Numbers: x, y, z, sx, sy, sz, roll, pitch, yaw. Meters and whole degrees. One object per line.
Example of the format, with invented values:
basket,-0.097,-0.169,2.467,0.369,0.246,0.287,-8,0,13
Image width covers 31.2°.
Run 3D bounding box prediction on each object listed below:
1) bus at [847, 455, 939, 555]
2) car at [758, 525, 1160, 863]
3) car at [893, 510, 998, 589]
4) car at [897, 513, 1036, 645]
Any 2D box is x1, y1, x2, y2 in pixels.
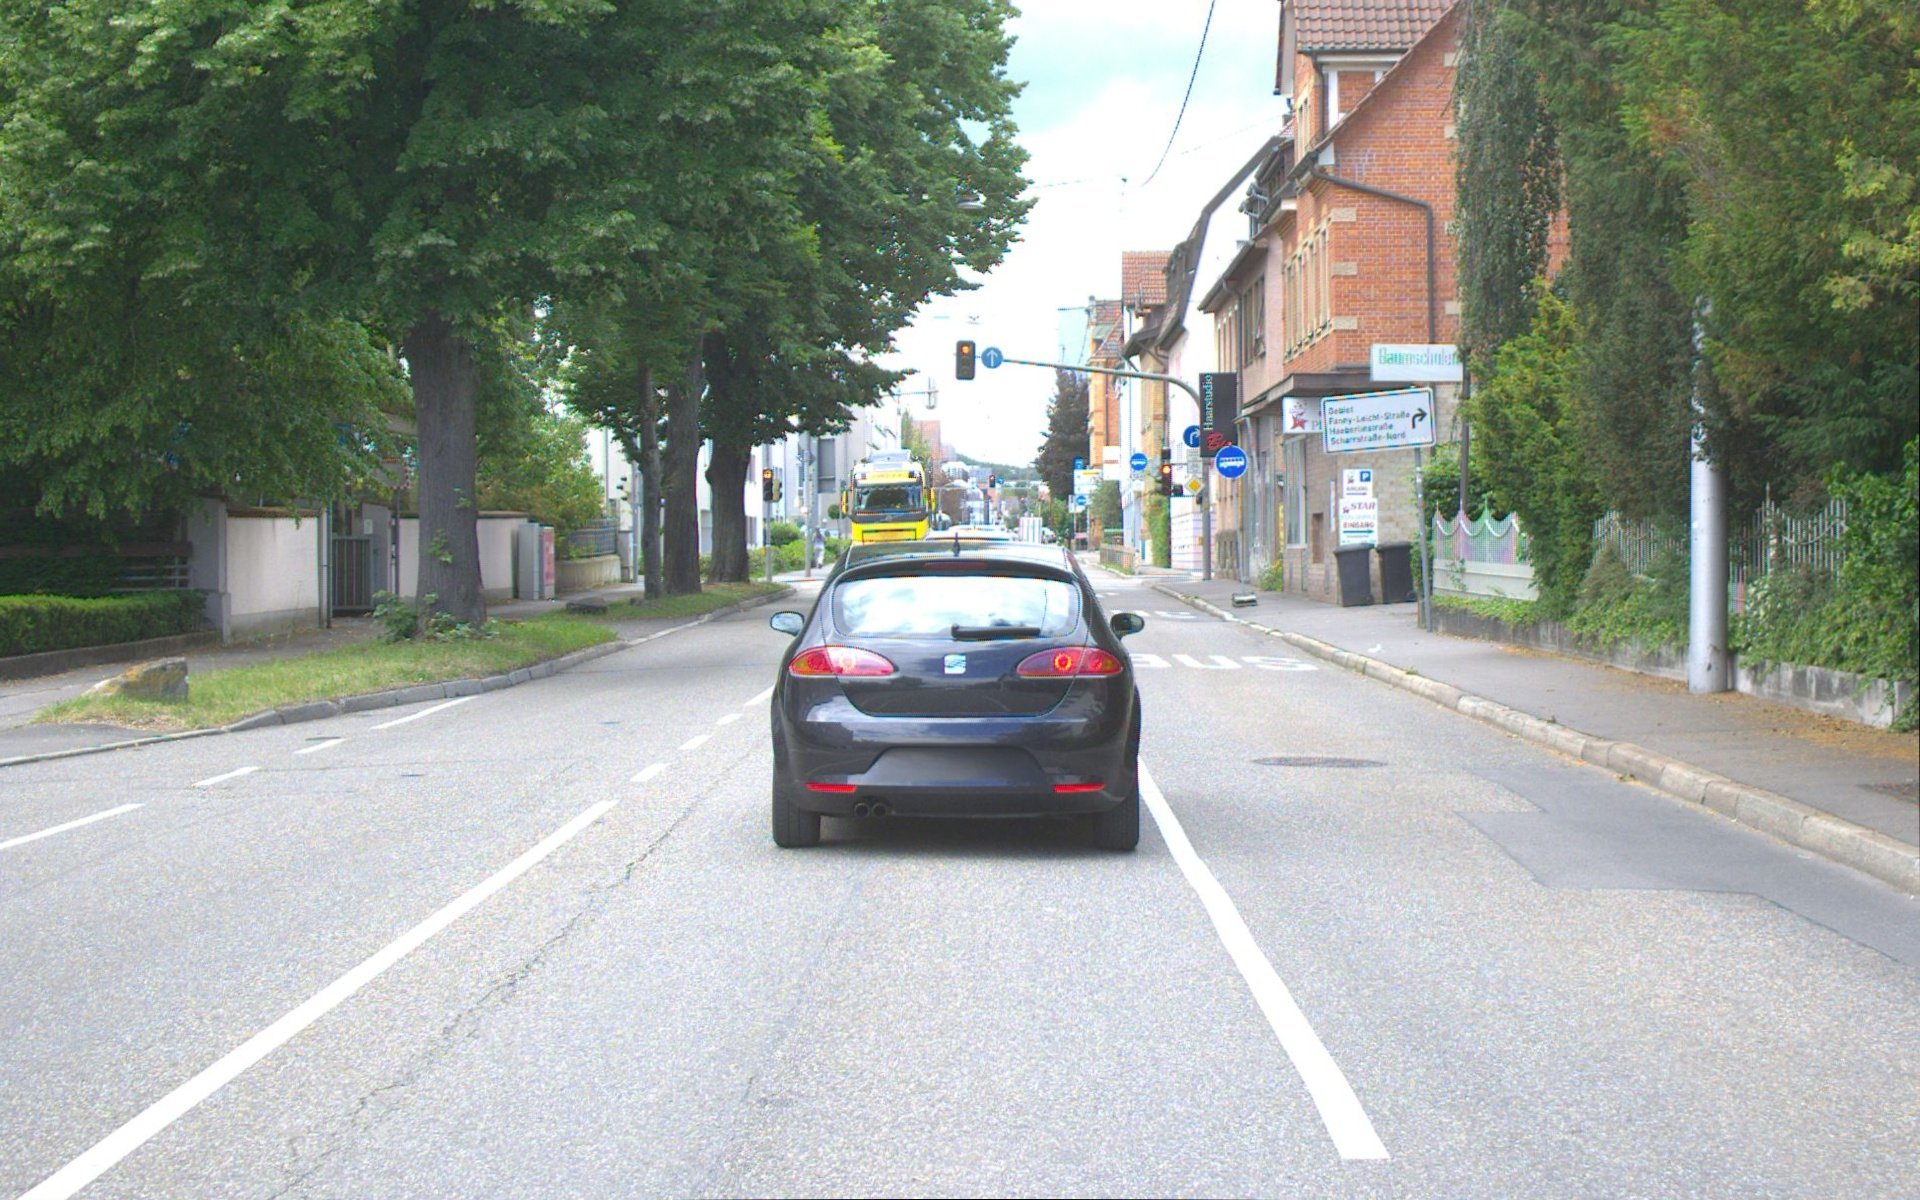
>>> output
bus,-2.141,-3.096,112.178,2.868,3.125,6.398,-1,2,-1
car,-0.107,0.383,17.195,1.759,1.444,3.715,2,1,-3
car,-0.325,-1.036,68.597,1.941,1.476,4.254,-1,2,-2
car,0.133,-0.333,47.751,1.819,1.693,4.253,-1,2,1
